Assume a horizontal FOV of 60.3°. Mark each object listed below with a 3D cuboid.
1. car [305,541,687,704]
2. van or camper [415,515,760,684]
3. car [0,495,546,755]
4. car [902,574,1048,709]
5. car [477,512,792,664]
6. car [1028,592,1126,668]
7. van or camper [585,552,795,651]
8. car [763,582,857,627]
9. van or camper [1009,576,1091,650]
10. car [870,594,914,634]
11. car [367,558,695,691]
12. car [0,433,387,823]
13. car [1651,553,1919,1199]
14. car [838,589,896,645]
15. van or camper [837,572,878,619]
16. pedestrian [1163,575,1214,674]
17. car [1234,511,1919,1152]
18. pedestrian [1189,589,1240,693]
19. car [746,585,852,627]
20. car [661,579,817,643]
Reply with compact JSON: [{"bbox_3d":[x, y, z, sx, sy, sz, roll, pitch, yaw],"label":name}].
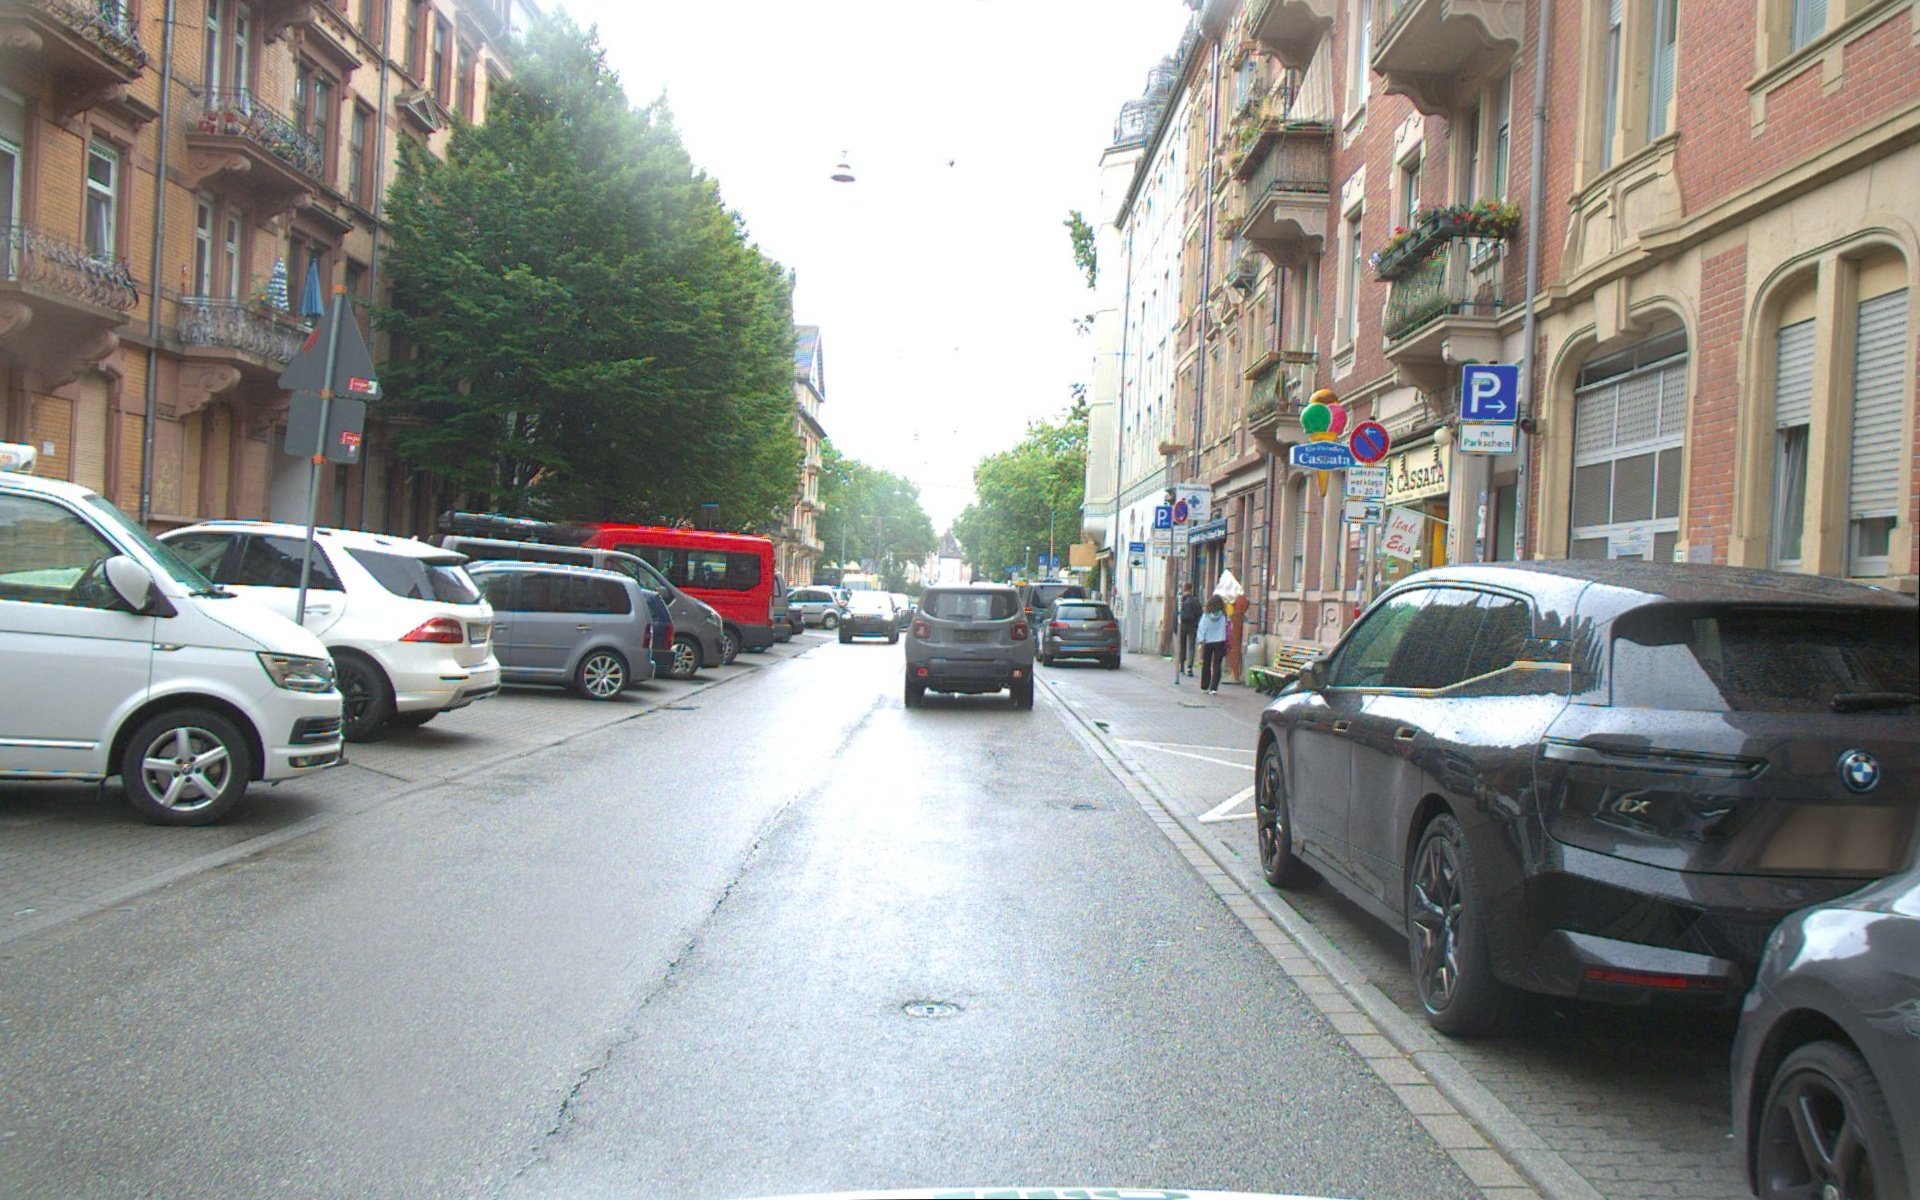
[{"bbox_3d":[-5.945,0.298,21.259,4.378,1.658,1.829,5,0,-27],"label":"car"},{"bbox_3d":[-6.003,0.016,26.683,4.948,2.390,2.325,3,0,-27],"label":"van or camper"},{"bbox_3d":[-6.385,0.182,15.030,4.487,1.816,2.545,5,0,-1],"label":"car"},{"bbox_3d":[0.156,0.548,23.855,1.860,1.700,4.504,2,0,-1],"label":"car"},{"bbox_3d":[-6.265,-0.199,31.959,5.491,2.585,2.209,3,0,-28],"label":"car"},{"bbox_3d":[2.574,0.638,37.288,1.804,1.572,4.002,2,0,-1],"label":"car"},{"bbox_3d":[-6.200,0.054,38.210,4.394,2.009,1.761,3,0,-34],"label":"van or camper"},{"bbox_3d":[-5.957,0.173,65.593,3.344,1.683,1.615,1,0,-33],"label":"car"},{"bbox_3d":[2.480,0.343,46.727,1.980,1.924,5.054,1,0,-1],"label":"van or camper"},{"bbox_3d":[-2.692,0.557,66.391,1.636,1.491,4.002,2,0,-1],"label":"car"},{"bbox_3d":[-6.152,0.354,23.709,4.284,1.530,1.743,4,0,-23],"label":"car"},{"bbox_3d":[-6.162,0.081,9.544,5.169,2.114,1.856,3,1,-25],"label":"car"},{"bbox_3d":[2.679,0.732,2.058,1.833,1.589,4.345,1,0,1],"label":"car"},{"bbox_3d":[-2.827,0.505,50.711,1.636,1.586,4.001,2,0,-3],"label":"car"},{"bbox_3d":[-6.109,-0.219,99.377,2.078,2.575,6.873,-1,-2,-1],"label":"van or camper"},{"bbox_3d":[4.679,0.499,33.901,0.667,1.968,0.807,1,-4,35],"label":"pedestrian"},{"bbox_3d":[2.635,0.683,7.185,1.953,1.810,4.825,2,0,-1],"label":"car"},{"bbox_3d":[4.142,0.657,26.966,0.665,1.642,0.810,1,0,0],"label":"pedestrian"},{"bbox_3d":[-6.089,0.229,62.711,3.672,1.477,1.664,1,0,-36],"label":"car"},{"bbox_3d":[-6.112,0.318,45.909,3.942,1.472,1.742,4,0,-41],"label":"car"}]
